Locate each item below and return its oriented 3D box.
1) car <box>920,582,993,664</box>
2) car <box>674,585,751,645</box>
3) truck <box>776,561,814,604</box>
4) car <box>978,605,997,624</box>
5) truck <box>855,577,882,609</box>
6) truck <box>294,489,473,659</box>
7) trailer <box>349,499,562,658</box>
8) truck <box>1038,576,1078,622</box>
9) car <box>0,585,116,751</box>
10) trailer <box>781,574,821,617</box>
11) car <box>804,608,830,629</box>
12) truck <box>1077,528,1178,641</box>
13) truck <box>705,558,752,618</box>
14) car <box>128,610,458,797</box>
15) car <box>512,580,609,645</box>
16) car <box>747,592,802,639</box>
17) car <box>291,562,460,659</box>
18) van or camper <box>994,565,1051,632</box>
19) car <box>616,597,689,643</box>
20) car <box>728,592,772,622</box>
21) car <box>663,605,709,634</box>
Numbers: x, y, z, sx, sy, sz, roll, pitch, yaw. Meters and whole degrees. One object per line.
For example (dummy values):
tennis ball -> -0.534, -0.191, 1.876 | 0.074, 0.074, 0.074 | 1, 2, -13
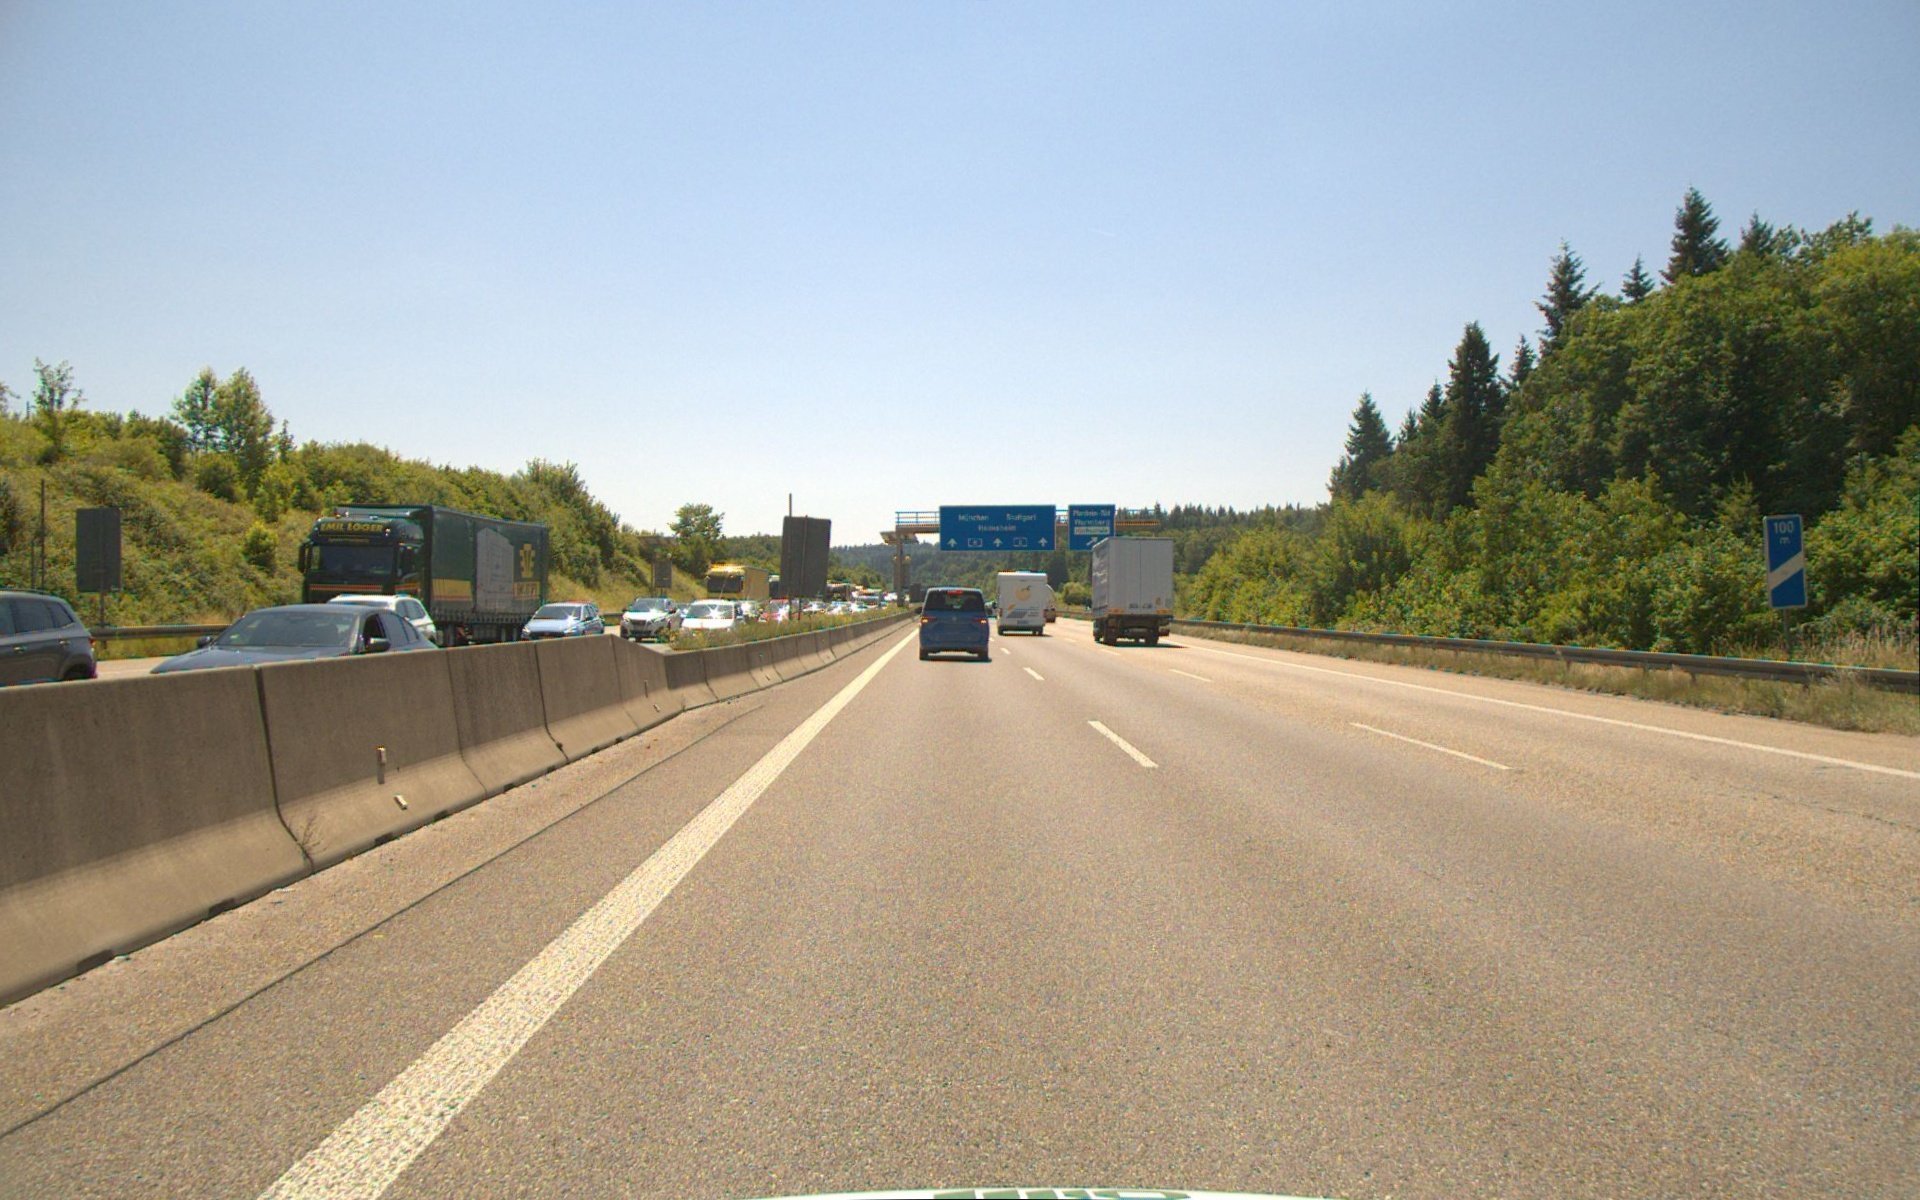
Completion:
car -> -0.118, 0.574, 44.775 | 1.870, 2.049, 4.000 | -1, 1, -1
car -> -7.780, 0.476, 52.398 | 1.791, 1.795, 4.989 | 1, -1, -2
truck -> -16.598, -1.675, 166.710 | 2.723, 4.186, 7.031 | 0, -1, 3
car -> 2.654, 1.468, 162.997 | 1.781, 1.825, 3.894 | 1, -1, 0
truck -> -8.502, -0.645, 154.318 | 2.077, 2.891, 6.211 | 1, -1, 0
truck -> -15.443, -0.625, 44.734 | 2.761, 4.277, 5.629 | 1, -1, 0
trailer -> -15.491, -0.534, 52.136 | 2.784, 4.336, 12.785 | 1, -1, 0
truck -> 8.185, -0.115, 138.980 | 2.868, 3.637, 8.526 | -1, 1, 0
car -> -11.248, 0.719, 17.873 | 1.791, 1.795, 4.989 | 1, -1, -2
trailer -> -16.482, -0.398, 172.140 | 2.724, 4.380, 11.711 | 0, -1, 1
car -> -11.971, 1.554, 138.540 | 1.739, 1.641, 4.558 | 1, -1, 0
truck -> 6.608, -0.528, 66.775 | 2.727, 4.201, 9.735 | 1, -1, -2
truck -> -16.312, -0.791, 116.905 | 2.549, 4.136, 6.130 | 1, -1, -2
car -> -7.261, 1.032, 18.628 | 1.791, 1.795, 4.989 | 1, -1, -2
car -> -11.762, 0.383, 49.018 | 1.791, 1.795, 4.989 | 1, -1, -2
car -> -7.475, 0.635, 67.160 | 1.791, 1.795, 4.989 | 1, -1, -2
car -> -11.828, 0.223, 33.844 | 1.791, 1.795, 4.989 | 1, -1, -2
van or camper -> 3.083, -0.156, 82.947 | 2.550, 3.132, 7.183 | 1, 1, 0
car -> -11.776, 0.772, 63.655 | 1.774, 1.657, 5.218 | 1, -1, 0
car -> -12.058, 0.401, 95.180 | 1.774, 1.657, 5.381 | 1, -1, 0
car -> -15.312, 1.108, 92.674 | 1.774, 1.539, 4.797 | 1, -1, 0
